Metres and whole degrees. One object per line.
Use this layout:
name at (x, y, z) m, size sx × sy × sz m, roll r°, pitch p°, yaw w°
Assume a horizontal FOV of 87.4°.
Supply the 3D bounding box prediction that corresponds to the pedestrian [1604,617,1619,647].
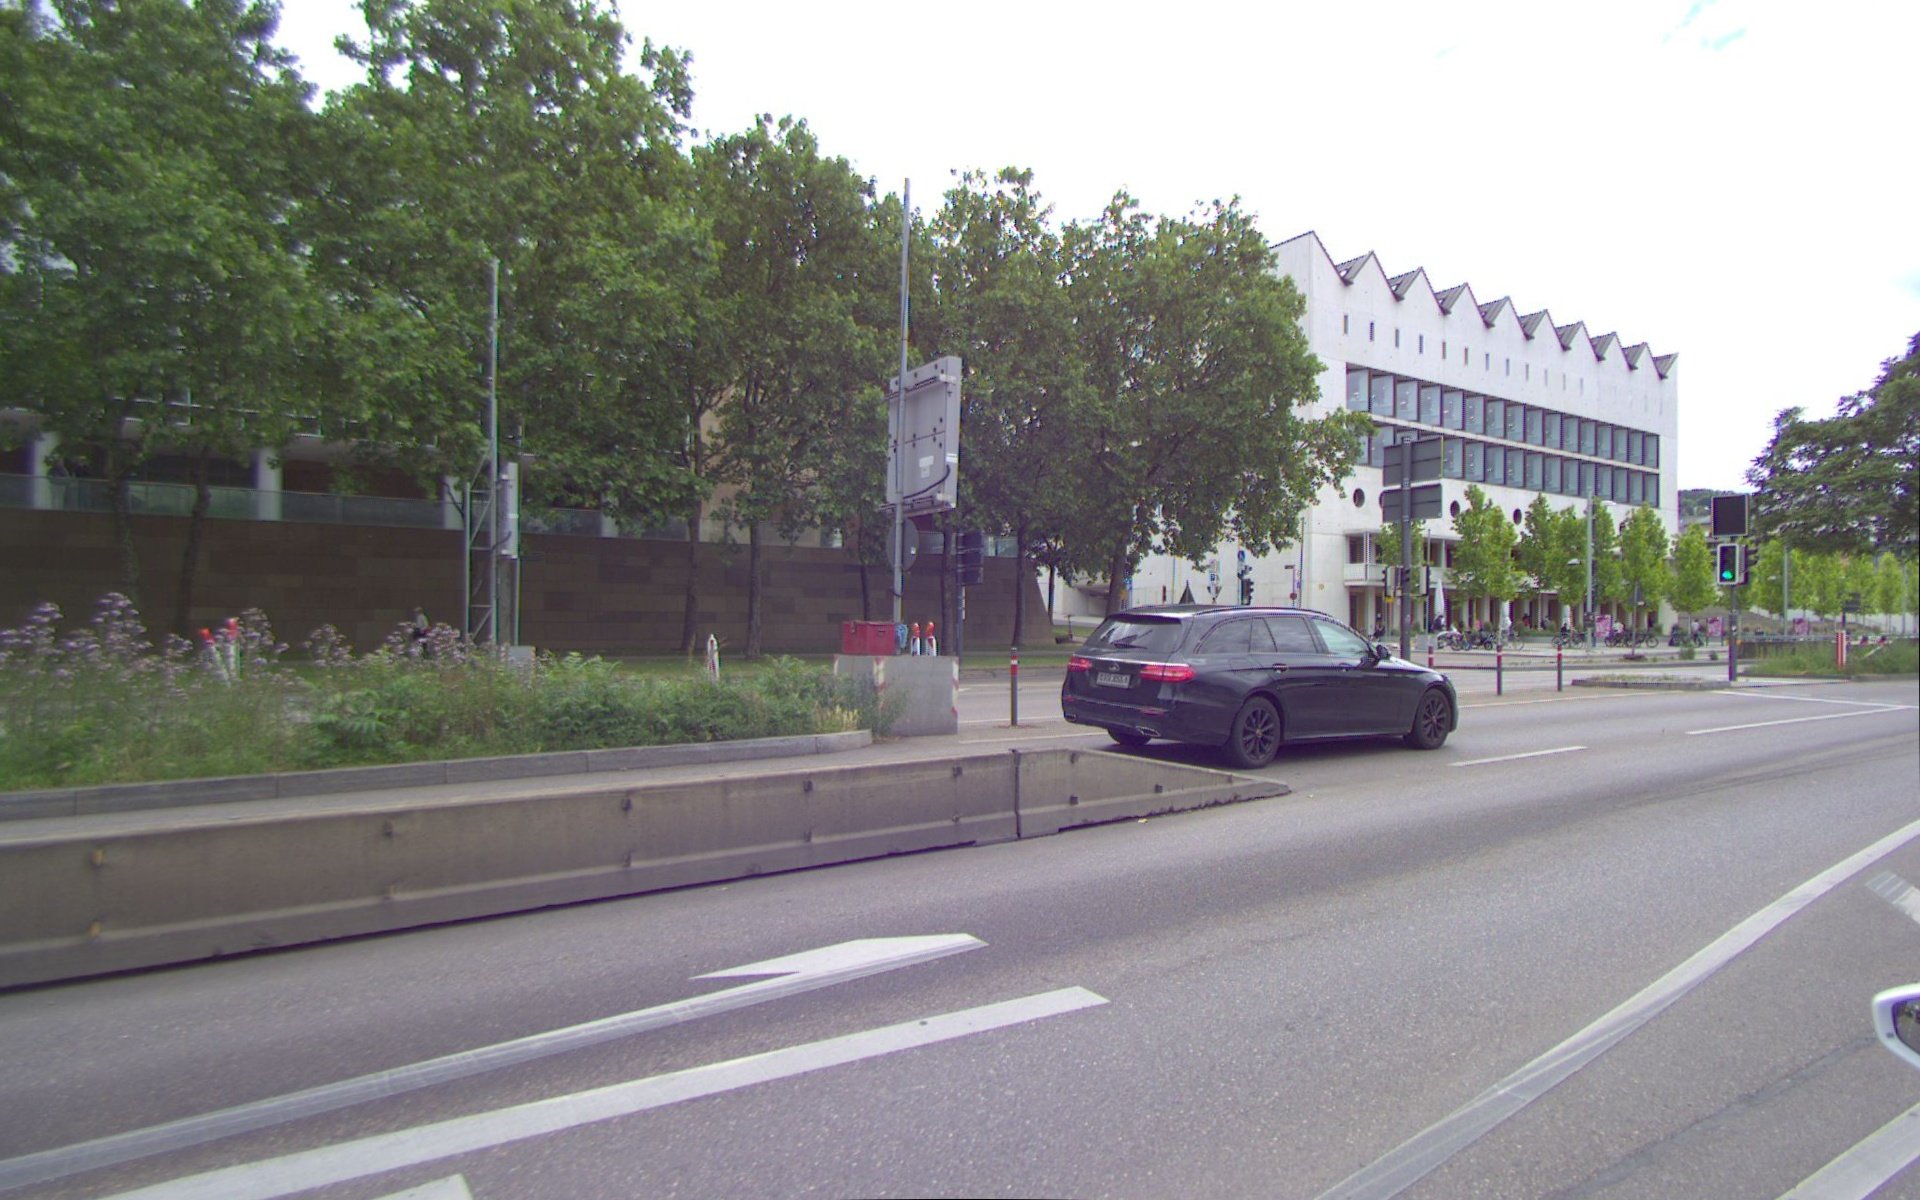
pedestrian at (45.405, 2.207, 70.036) m, size 0.734 × 2.041 × 0.703 m, roll -1°, pitch 2°, yaw -45°

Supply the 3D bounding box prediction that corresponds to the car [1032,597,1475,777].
car at (3.227, 0.807, 10.611) m, size 4.812 × 1.479 × 1.801 m, roll 2°, pitch 0°, yaw -34°

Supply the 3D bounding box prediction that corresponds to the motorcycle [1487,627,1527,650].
motorcycle at (29.715, 2.090, 54.551) m, size 1.858 × 1.249 × 0.657 m, roll 0°, pitch -3°, yaw 34°

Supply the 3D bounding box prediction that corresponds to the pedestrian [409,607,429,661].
pedestrian at (-16.322, 1.022, 30.282) m, size 0.440 × 1.629 × 0.351 m, roll 2°, pitch 1°, yaw -38°

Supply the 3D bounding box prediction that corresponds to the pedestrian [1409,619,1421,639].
pedestrian at (30.483, 1.959, 67.344) m, size 0.559 × 1.344 × 0.516 m, roll 3°, pitch -3°, yaw -31°

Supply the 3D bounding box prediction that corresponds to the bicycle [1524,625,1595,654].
bicycle at (36.572, 2.369, 61.328) m, size 1.170 × 1.706 × 3.593 m, roll 1°, pitch -1°, yaw -32°

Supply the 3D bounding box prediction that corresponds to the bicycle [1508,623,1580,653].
bicycle at (34.703, 2.220, 59.777) m, size 1.170 × 1.706 × 3.593 m, roll 1°, pitch -1°, yaw -32°

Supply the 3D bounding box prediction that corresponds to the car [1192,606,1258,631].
car at (16.680, 1.148, 63.373) m, size 1.732 × 1.293 × 3.966 m, roll 2°, pitch 1°, yaw -31°

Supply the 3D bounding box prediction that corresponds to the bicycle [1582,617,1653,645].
bicycle at (41.739, 1.943, 63.788) m, size 1.174 × 1.706 × 3.581 m, roll 1°, pitch -2°, yaw -41°

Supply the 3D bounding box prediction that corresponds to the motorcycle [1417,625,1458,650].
motorcycle at (24.847, 1.959, 52.283) m, size 1.858 × 1.249 × 0.657 m, roll 0°, pitch -3°, yaw 34°

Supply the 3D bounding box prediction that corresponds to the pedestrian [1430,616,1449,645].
pedestrian at (26.142, 1.649, 54.795) m, size 0.865 × 1.577 × 0.598 m, roll 0°, pitch -1°, yaw 16°

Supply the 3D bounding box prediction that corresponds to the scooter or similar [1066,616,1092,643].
scooter or similar at (6.026, 1.498, 50.858) m, size 0.531 × 1.358 × 1.407 m, roll 1°, pitch -1°, yaw -31°

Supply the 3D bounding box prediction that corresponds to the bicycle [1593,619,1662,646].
bicycle at (43.249, 2.120, 65.134) m, size 1.174 × 1.706 × 3.581 m, roll 1°, pitch -2°, yaw -41°
